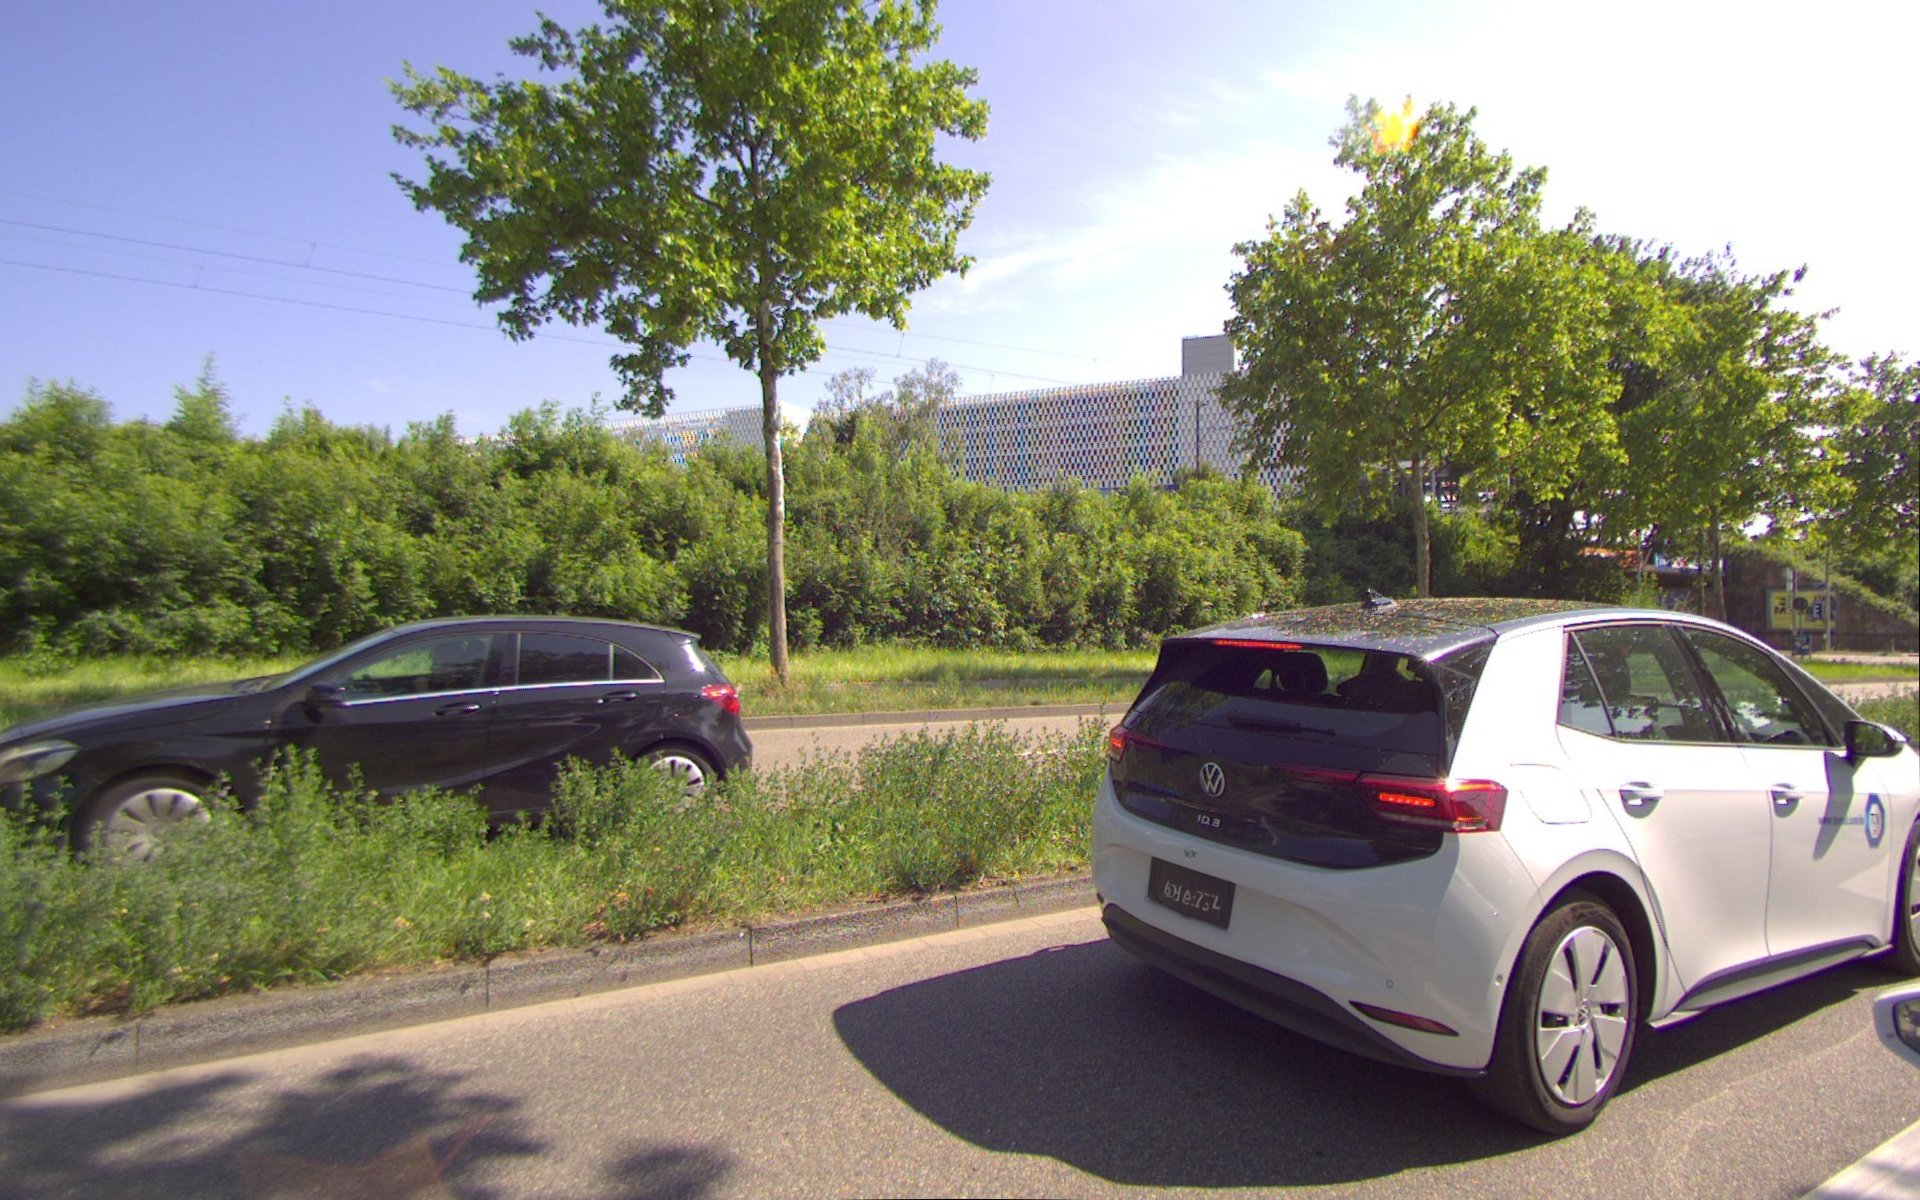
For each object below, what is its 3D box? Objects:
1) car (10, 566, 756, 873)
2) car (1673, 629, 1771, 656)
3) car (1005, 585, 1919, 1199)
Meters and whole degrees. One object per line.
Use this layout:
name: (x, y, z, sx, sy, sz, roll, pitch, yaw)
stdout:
car: (-3.404, 0.620, 6.544, 3.747, 1.491, 1.594, 2, 0, -31)
car: (41.044, 2.281, 54.219, 3.927, 1.363, 1.880, 0, -1, 28)
car: (2.427, 0.771, 4.258, 4.159, 1.541, 1.810, 1, 0, -30)
